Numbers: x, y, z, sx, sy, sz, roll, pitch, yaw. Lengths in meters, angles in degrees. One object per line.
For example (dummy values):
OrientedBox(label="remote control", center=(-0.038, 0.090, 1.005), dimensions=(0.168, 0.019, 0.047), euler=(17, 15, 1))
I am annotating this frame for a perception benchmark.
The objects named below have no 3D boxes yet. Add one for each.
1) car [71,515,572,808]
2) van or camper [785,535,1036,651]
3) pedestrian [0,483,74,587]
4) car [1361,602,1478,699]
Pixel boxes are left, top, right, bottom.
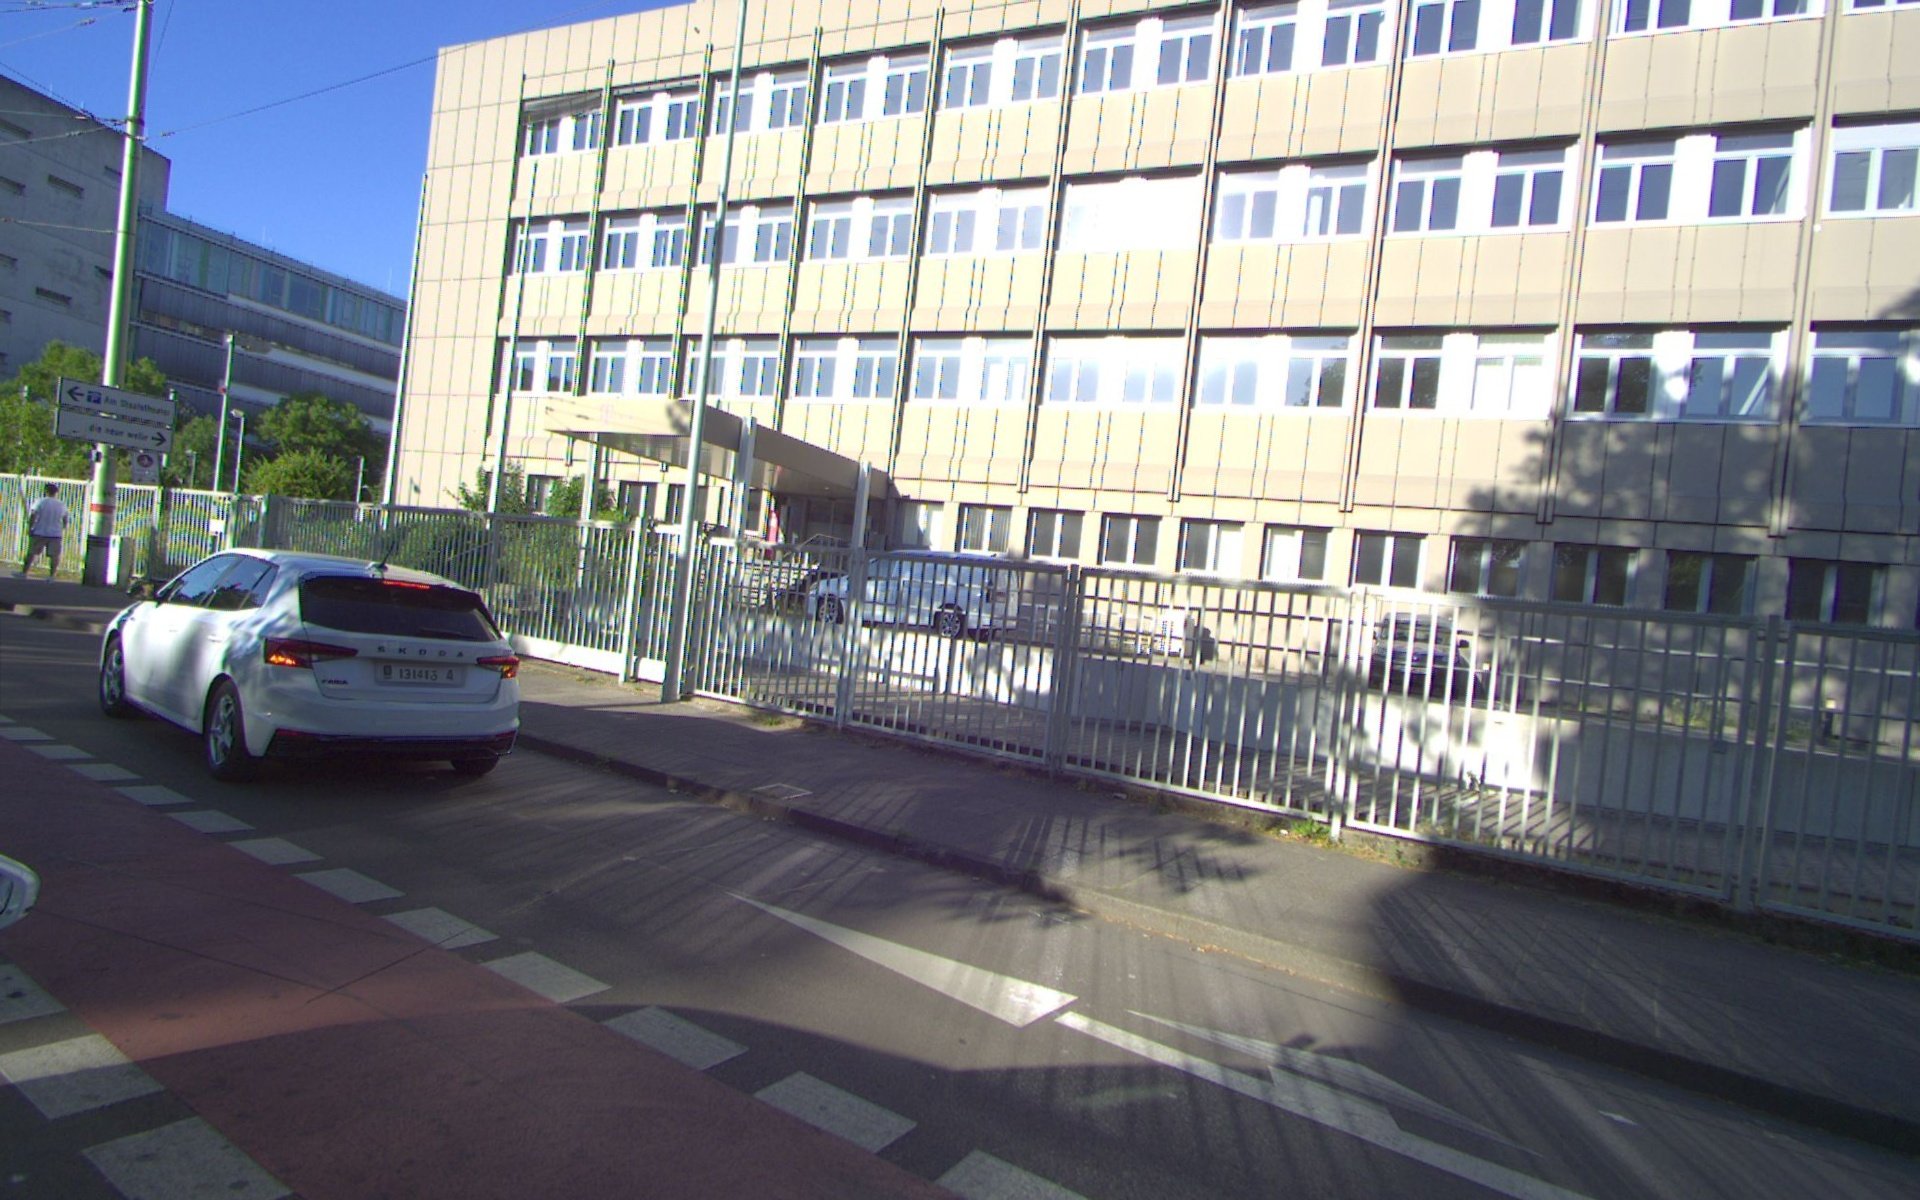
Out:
OrientedBox(label="car", center=(-4.872, 0.326, 7.488), dimensions=(3.921, 1.519, 1.802), euler=(6, -1, 37))
OrientedBox(label="van or camper", center=(-1.090, -0.147, 21.791), dimensions=(4.909, 1.933, 1.985), euler=(6, 1, 24))
OrientedBox(label="pedestrian", center=(-16.870, -1.169, 18.319), dimensions=(0.758, 1.771, 0.787), euler=(7, 1, 27))
OrientedBox(label="car", center=(10.065, 1.117, 22.183), dimensions=(1.957, 1.739, 4.263), euler=(6, 0, 24))
